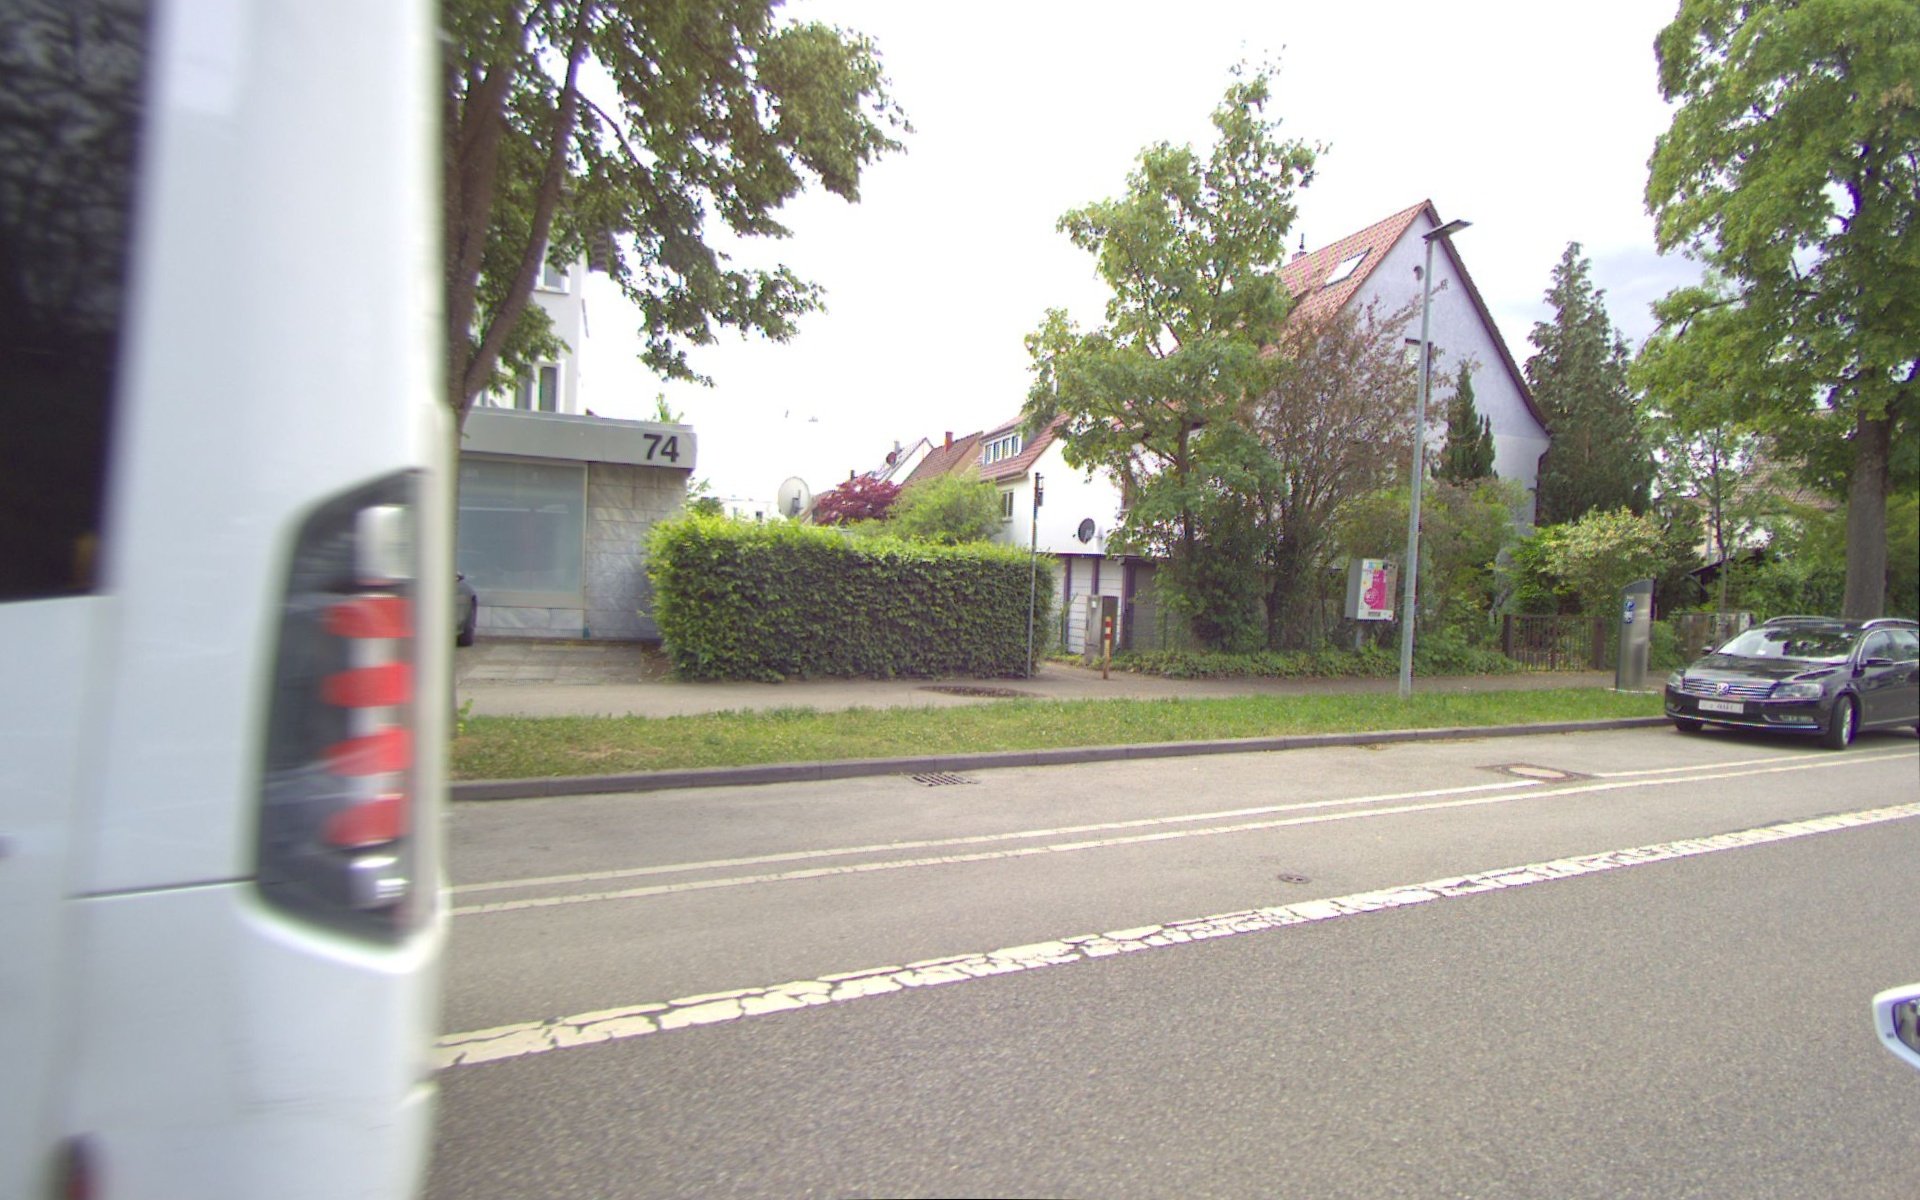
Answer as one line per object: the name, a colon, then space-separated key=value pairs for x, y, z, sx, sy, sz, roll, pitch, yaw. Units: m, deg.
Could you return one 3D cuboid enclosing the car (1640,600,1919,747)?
car: x=11.139 y=0.939 z=13.043 sx=4.563 sy=1.573 sz=1.853 roll=3 pitch=0 yaw=-28
